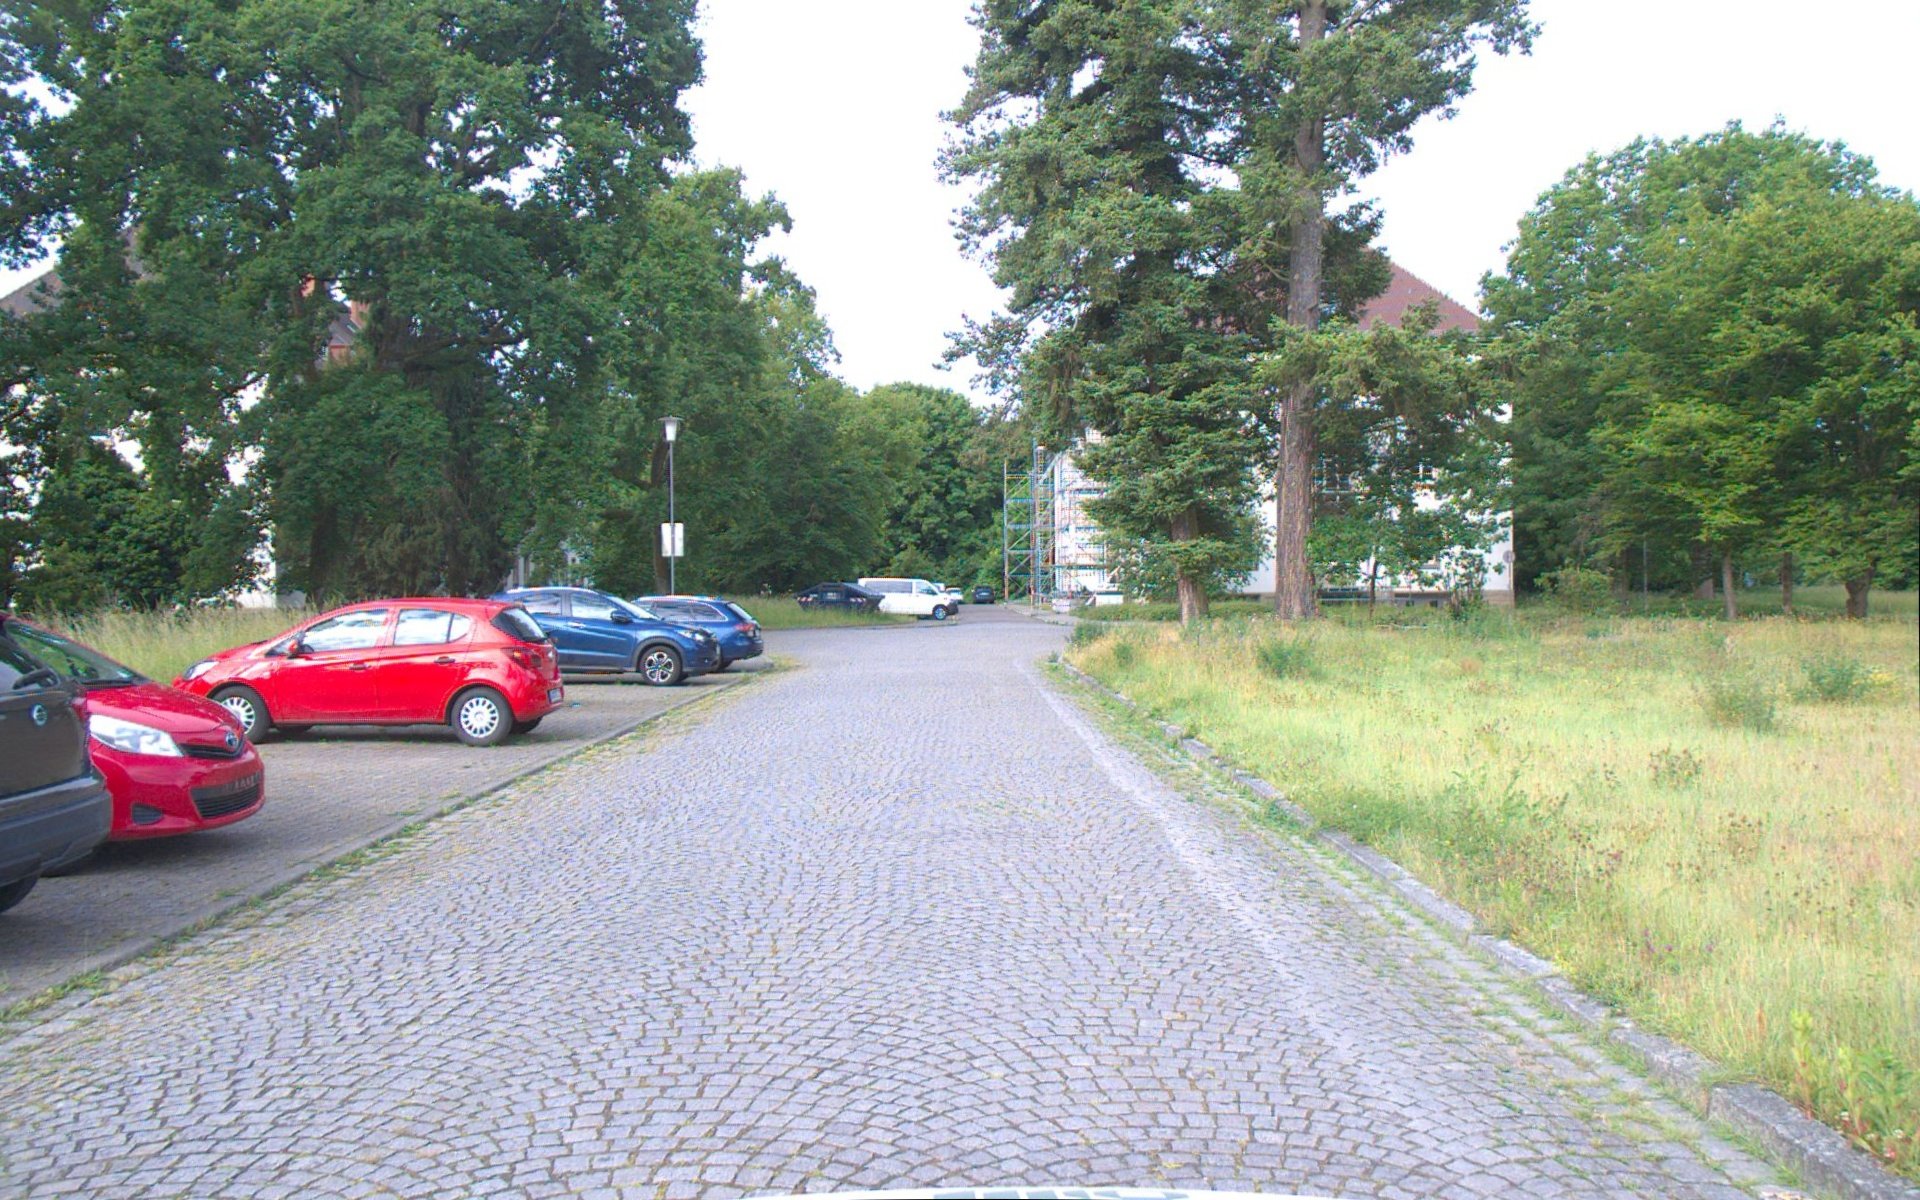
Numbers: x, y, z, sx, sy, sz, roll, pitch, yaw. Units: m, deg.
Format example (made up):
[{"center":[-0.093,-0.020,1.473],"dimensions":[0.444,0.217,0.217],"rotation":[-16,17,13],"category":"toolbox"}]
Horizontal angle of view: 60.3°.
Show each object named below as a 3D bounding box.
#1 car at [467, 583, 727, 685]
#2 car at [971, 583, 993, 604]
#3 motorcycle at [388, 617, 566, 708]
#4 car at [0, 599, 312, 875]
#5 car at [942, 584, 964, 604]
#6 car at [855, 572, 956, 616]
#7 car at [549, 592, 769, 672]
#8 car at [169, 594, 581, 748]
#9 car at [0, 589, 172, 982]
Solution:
[{"center":[-6.040,0.549,27.863],"dimensions":[3.989,1.632,1.787],"rotation":[0,1,-2],"category":"car"},{"center":[1.936,-0.607,147.995],"dimensions":[1.754,1.750,4.059],"rotation":[-1,-1,-2],"category":"car"},{"center":[-6.464,0.829,22.173],"dimensions":[2.180,1.179,0.647],"rotation":[-1,0,2],"category":"motorcycle"},{"center":[-6.177,0.772,10.084],"dimensions":[3.738,1.512,1.761],"rotation":[0,1,-1],"category":"car"},{"center":[-0.632,-0.524,147.642],"dimensions":[1.754,1.665,4.059],"rotation":[-1,-1,-2],"category":"car"},{"center":[-2.676,-0.267,81.574],"dimensions":[4.877,2.109,2.051],"rotation":[0,-1,-2],"category":"car"},{"center":[-5.881,0.616,32.562],"dimensions":[3.986,1.493,1.626],"rotation":[0,1,3],"category":"car"},{"center":[-6.115,0.711,17.612],"dimensions":[3.738,1.515,1.787],"rotation":[0,1,-2],"category":"car"},{"center":[-5.950,0.772,7.300],"dimensions":[3.986,1.602,1.954],"rotation":[0,1,-2],"category":"car"}]
